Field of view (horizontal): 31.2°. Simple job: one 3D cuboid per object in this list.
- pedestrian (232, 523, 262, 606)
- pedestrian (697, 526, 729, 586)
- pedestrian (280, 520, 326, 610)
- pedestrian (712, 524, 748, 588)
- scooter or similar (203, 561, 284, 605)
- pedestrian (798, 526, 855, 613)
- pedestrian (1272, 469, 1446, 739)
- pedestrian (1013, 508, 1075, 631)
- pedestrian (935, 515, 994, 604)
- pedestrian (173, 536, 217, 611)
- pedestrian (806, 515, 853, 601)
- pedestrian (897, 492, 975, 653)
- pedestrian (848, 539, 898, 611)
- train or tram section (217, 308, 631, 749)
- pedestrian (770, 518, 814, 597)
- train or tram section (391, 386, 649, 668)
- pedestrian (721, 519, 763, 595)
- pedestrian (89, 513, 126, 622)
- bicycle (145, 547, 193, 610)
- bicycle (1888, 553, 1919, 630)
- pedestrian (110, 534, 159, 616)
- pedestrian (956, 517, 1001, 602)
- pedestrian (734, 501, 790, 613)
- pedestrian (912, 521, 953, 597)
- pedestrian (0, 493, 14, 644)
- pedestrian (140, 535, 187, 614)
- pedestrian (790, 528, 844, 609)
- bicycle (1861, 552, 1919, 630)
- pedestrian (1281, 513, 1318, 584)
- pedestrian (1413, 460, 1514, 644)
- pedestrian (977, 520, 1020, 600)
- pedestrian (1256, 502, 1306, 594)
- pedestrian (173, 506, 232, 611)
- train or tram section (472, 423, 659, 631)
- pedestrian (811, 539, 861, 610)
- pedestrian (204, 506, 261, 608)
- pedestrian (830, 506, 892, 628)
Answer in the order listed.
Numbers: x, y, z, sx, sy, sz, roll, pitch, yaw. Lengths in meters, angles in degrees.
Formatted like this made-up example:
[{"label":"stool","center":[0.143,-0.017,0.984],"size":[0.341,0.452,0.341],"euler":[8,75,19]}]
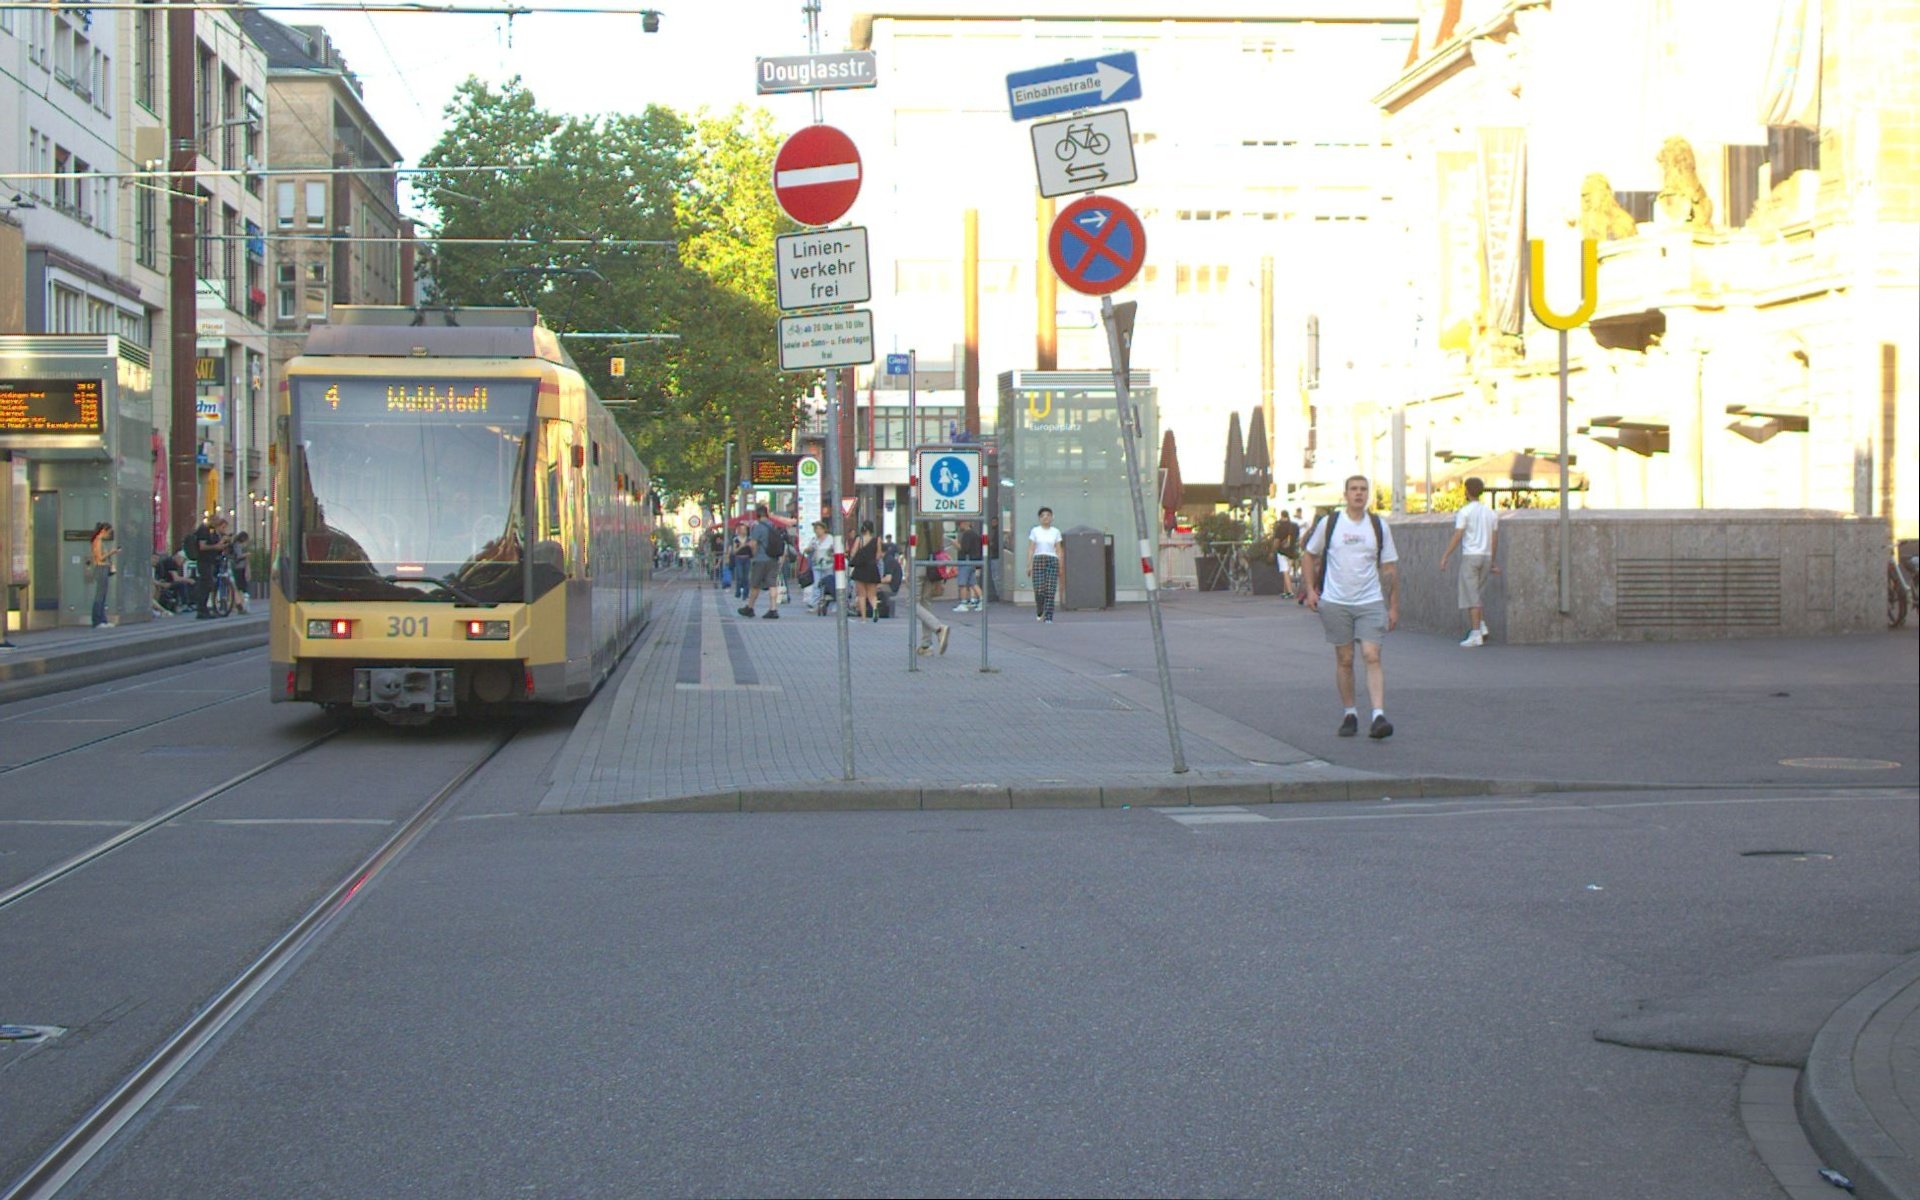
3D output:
[{"label":"pedestrian","center":[-14.877,-0.748,71.726],"size":[0.600,1.721,0.608],"euler":[0,0,-11]},{"label":"pedestrian","center":[-6.818,-1.214,94.907],"size":[0.767,1.655,0.794],"euler":[0,1,5]},{"label":"pedestrian","center":[-12.667,-0.670,66.293],"size":[0.773,1.719,0.709],"euler":[0,0,-4]},{"label":"pedestrian","center":[-5.981,-1.137,89.488],"size":[0.792,1.655,0.769],"euler":[0,1,8]},{"label":"scooter or similar","center":[-13.387,-0.317,64.276],"size":[0.558,0.828,1.523],"euler":[0,0,35]},{"label":"pedestrian","center":[-2.433,-0.567,62.699],"size":[0.768,1.573,0.794],"euler":[1,1,26]},{"label":"pedestrian","center":[2.801,0.022,24.235],"size":[1.013,1.857,1.043],"euler":[1,1,-5]},{"label":"pedestrian","center":[1.265,-0.468,51.902],"size":[0.773,1.817,0.940],"euler":[-1,1,-7]},{"label":"pedestrian","center":[0.078,-0.763,64.357],"size":[0.767,1.655,0.794],"euler":[-1,1,-45]},{"label":"pedestrian","center":[-14.227,-0.491,63.974],"size":[0.707,1.374,0.720],"euler":[0,0,-5]},{"label":"pedestrian","center":[-2.549,-0.828,67.322],"size":[0.792,1.655,0.769],"euler":[0,1,8]},{"label":"pedestrian","center":[-0.265,-0.296,37.009],"size":[0.718,1.719,0.709],"euler":[0,0,-10]},{"label":"pedestrian","center":[-1.501,-0.430,59.106],"size":[0.792,1.217,0.769],"euler":[0,1,-7]},{"label":"train or tram section","center":[-4.729,-0.696,33.161],"size":[2.800,3.308,14.511],"euler":[0,1,-4]},{"label":"pedestrian","center":[-3.529,-0.897,72.062],"size":[0.792,1.655,0.769],"euler":[0,1,8]},{"label":"train or tram section","center":[-5.823,-1.011,47.648],"size":[2.800,3.308,14.511],"euler":[0,1,-4]},{"label":"pedestrian","center":[-4.755,-0.938,74.993],"size":[0.767,1.655,0.794],"euler":[0,1,8]},{"label":"pedestrian","center":[-12.643,-0.481,51.009],"size":[0.511,1.612,0.505],"euler":[0,0,-13]},{"label":"bicycle","center":[-14.475,-0.400,62.888],"size":[0.433,1.138,1.618],"euler":[-1,1,-28]},{"label":"bicycle","center":[10.966,-0.103,39.364],"size":[0.315,0.864,1.000],"euler":[-1,1,-5]},{"label":"pedestrian","center":[-14.081,-0.424,58.623],"size":[0.707,1.374,0.720],"euler":[0,0,-5]},{"label":"pedestrian","center":[0.366,-0.798,67.647],"size":[0.792,1.655,0.769],"euler":[0,1,8]},{"label":"pedestrian","center":[-3.245,-0.706,56.366],"size":[0.733,1.817,0.820],"euler":[0,1,-18]},{"label":"pedestrian","center":[-0.605,-0.902,75.258],"size":[0.792,1.655,0.769],"euler":[0,1,8]},{"label":"pedestrian","center":[-11.123,-0.357,38.909],"size":[0.713,1.692,0.786],"euler":[0,0,-10]},{"label":"pedestrian","center":[-14.070,-0.450,60.729],"size":[0.707,1.374,0.720],"euler":[0,0,-5]},{"label":"pedestrian","center":[-2.779,-0.621,66.797],"size":[0.768,1.573,0.794],"euler":[1,1,26]},{"label":"bicycle","center":[10.641,-0.107,39.341],"size":[0.315,0.864,1.000],"euler":[-1,1,-5]},{"label":"pedestrian","center":[8.685,-1.327,87.987],"size":[0.773,1.818,0.850],"euler":[0,1,-7]},{"label":"pedestrian","center":[5.562,-0.529,37.950],"size":[0.915,2.007,0.771],"euler":[1,1,24]},{"label":"pedestrian","center":[0.802,-0.837,71.226],"size":[0.792,1.655,0.769],"euler":[0,1,8]},{"label":"pedestrian","center":[6.363,-1.035,68.190],"size":[0.847,1.817,0.775],"euler":[0,1,-5]},{"label":"pedestrian","center":[-12.540,-0.685,56.934],"size":[0.707,1.719,0.775],"euler":[0,0,-35]},{"label":"train or tram section","center":[-6.924,-1.324,62.118],"size":[2.800,3.308,14.511],"euler":[0,1,-4]},{"label":"pedestrian","center":[-2.159,-0.447,59.870],"size":[0.792,1.217,0.769],"euler":[0,1,-7]},{"label":"pedestrian","center":[-12.412,-0.727,58.654],"size":[0.707,1.719,0.775],"euler":[0,0,-33]},{"label":"pedestrian","center":[-1.494,-0.504,51.872],"size":[0.733,1.817,0.820],"euler":[0,1,-18]}]
